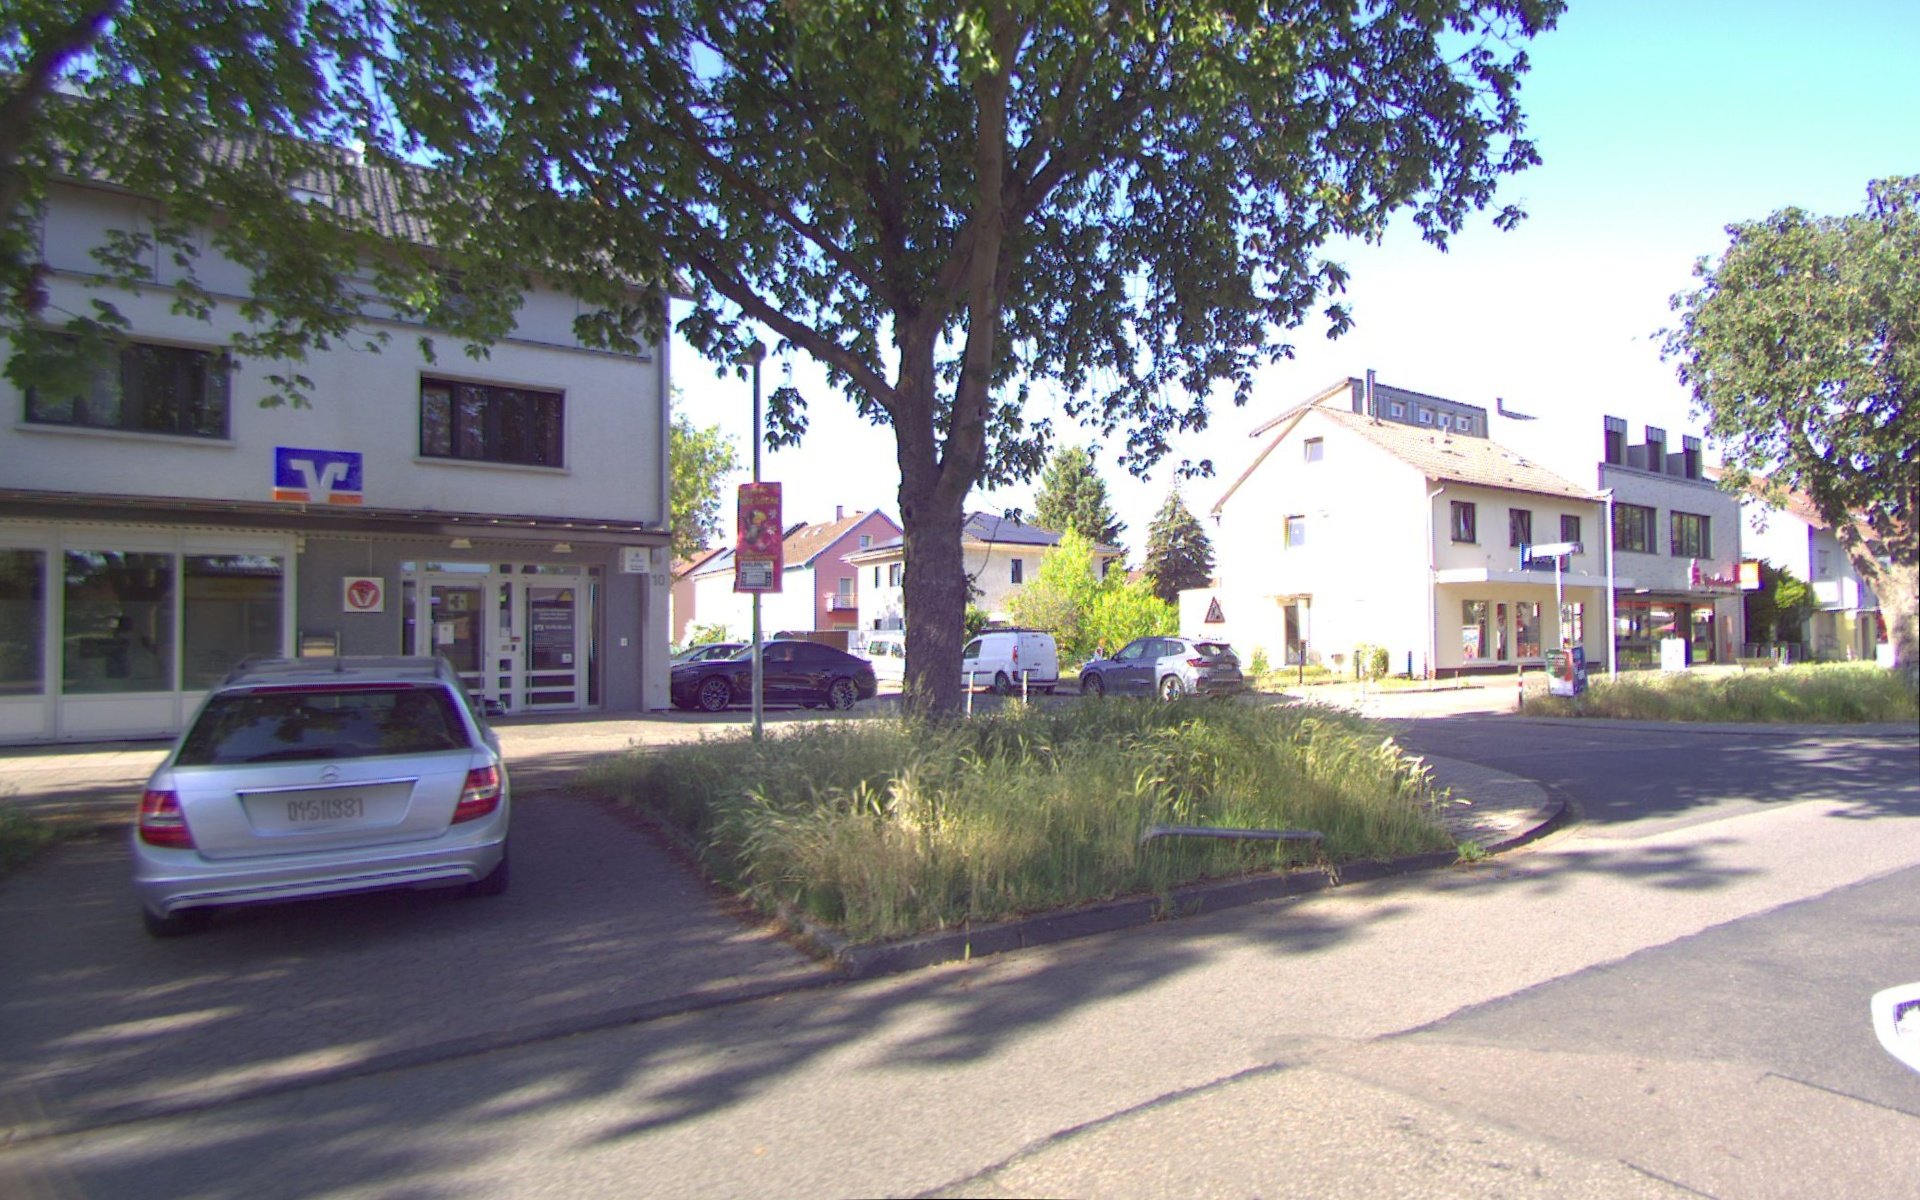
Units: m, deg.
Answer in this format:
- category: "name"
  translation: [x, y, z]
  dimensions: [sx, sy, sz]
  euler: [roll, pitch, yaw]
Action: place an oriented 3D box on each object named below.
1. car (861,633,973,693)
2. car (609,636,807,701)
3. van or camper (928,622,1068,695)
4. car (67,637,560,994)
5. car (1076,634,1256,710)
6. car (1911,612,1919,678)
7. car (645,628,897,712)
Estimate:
- category: "car"
  translation: [-1.535, 2.097, 34.384]
  dimensions: [1.981, 1.854, 3.959]
  euler: [1, -2, -36]
- category: "car"
  translation: [-6.503, 1.797, 26.181]
  dimensions: [4.624, 1.547, 1.860]
  euler: [4, -4, -36]
- category: "van or camper"
  translation: [1.056, 1.732, 30.527]
  dimensions: [1.978, 2.040, 4.647]
  euler: [1, -3, -32]
- category: "car"
  translation: [-4.106, 1.027, 6.746]
  dimensions: [1.977, 1.434, 4.360]
  euler: [2, -1, -31]
- category: "car"
  translation: [4.865, 1.709, 24.232]
  dimensions: [1.981, 1.659, 3.961]
  euler: [1, -4, -36]
- category: "car"
  translation: [27.909, 1.296, 25.569]
  dimensions: [1.979, 1.751, 5.030]
  euler: [2, 1, -34]
- category: "car"
  translation: [-3.929, 1.492, 21.284]
  dimensions: [4.862, 1.583, 1.980]
  euler: [4, -4, -36]
